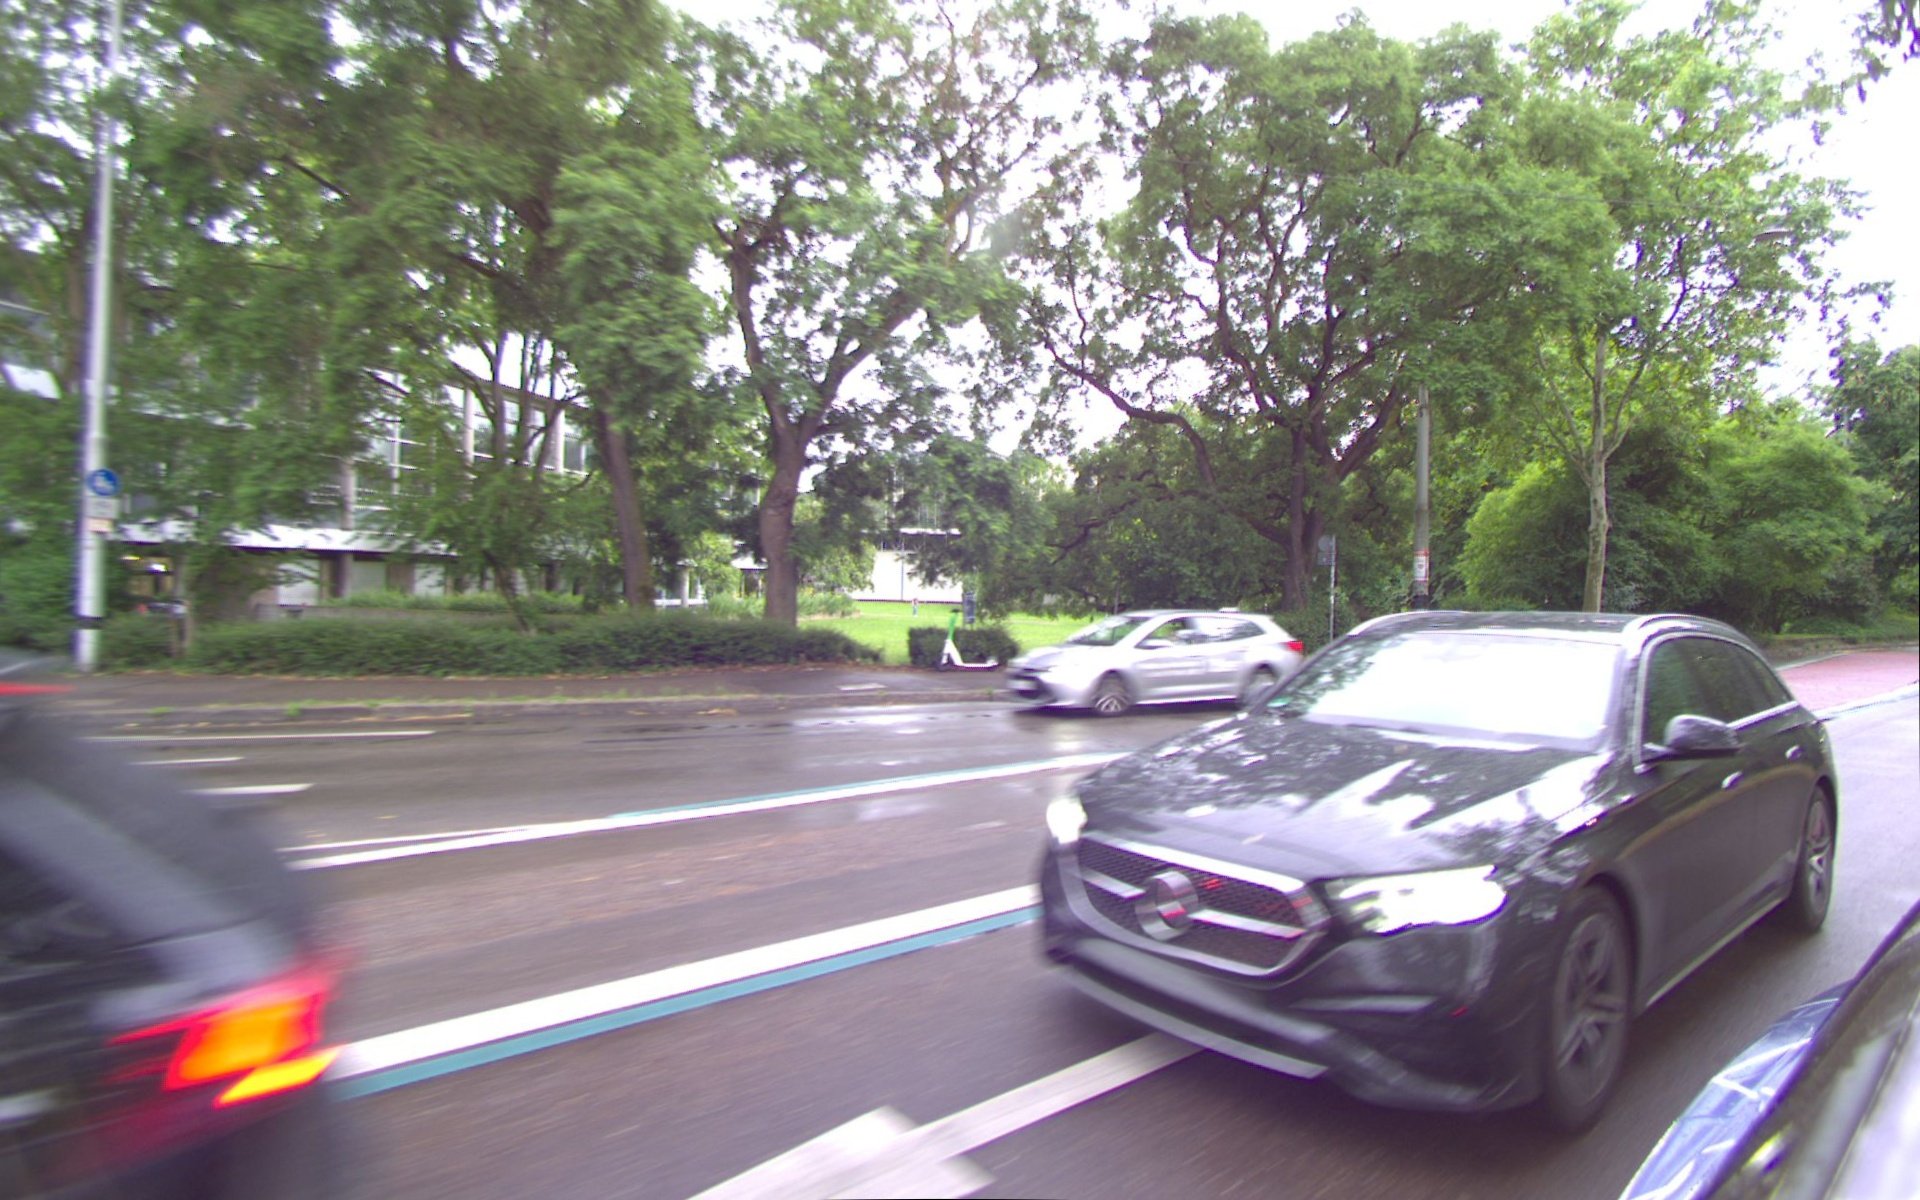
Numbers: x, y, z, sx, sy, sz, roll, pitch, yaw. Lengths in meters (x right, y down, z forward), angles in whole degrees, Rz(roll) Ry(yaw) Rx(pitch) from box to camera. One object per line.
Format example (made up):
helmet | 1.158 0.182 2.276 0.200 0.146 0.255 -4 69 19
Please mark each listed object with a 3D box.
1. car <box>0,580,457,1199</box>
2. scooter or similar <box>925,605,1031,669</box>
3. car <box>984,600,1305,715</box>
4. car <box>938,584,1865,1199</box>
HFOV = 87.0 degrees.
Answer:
car | -2.848 0.676 0.416 4.434 1.484 1.672 2 0 -42
scooter or similar | 0.337 0.699 18.979 1.851 1.114 0.559 2 2 -19
car | 2.709 0.771 14.779 4.312 1.468 1.871 1 0 -25
car | 2.340 0.718 4.402 4.845 1.464 1.882 1 -1 -42
